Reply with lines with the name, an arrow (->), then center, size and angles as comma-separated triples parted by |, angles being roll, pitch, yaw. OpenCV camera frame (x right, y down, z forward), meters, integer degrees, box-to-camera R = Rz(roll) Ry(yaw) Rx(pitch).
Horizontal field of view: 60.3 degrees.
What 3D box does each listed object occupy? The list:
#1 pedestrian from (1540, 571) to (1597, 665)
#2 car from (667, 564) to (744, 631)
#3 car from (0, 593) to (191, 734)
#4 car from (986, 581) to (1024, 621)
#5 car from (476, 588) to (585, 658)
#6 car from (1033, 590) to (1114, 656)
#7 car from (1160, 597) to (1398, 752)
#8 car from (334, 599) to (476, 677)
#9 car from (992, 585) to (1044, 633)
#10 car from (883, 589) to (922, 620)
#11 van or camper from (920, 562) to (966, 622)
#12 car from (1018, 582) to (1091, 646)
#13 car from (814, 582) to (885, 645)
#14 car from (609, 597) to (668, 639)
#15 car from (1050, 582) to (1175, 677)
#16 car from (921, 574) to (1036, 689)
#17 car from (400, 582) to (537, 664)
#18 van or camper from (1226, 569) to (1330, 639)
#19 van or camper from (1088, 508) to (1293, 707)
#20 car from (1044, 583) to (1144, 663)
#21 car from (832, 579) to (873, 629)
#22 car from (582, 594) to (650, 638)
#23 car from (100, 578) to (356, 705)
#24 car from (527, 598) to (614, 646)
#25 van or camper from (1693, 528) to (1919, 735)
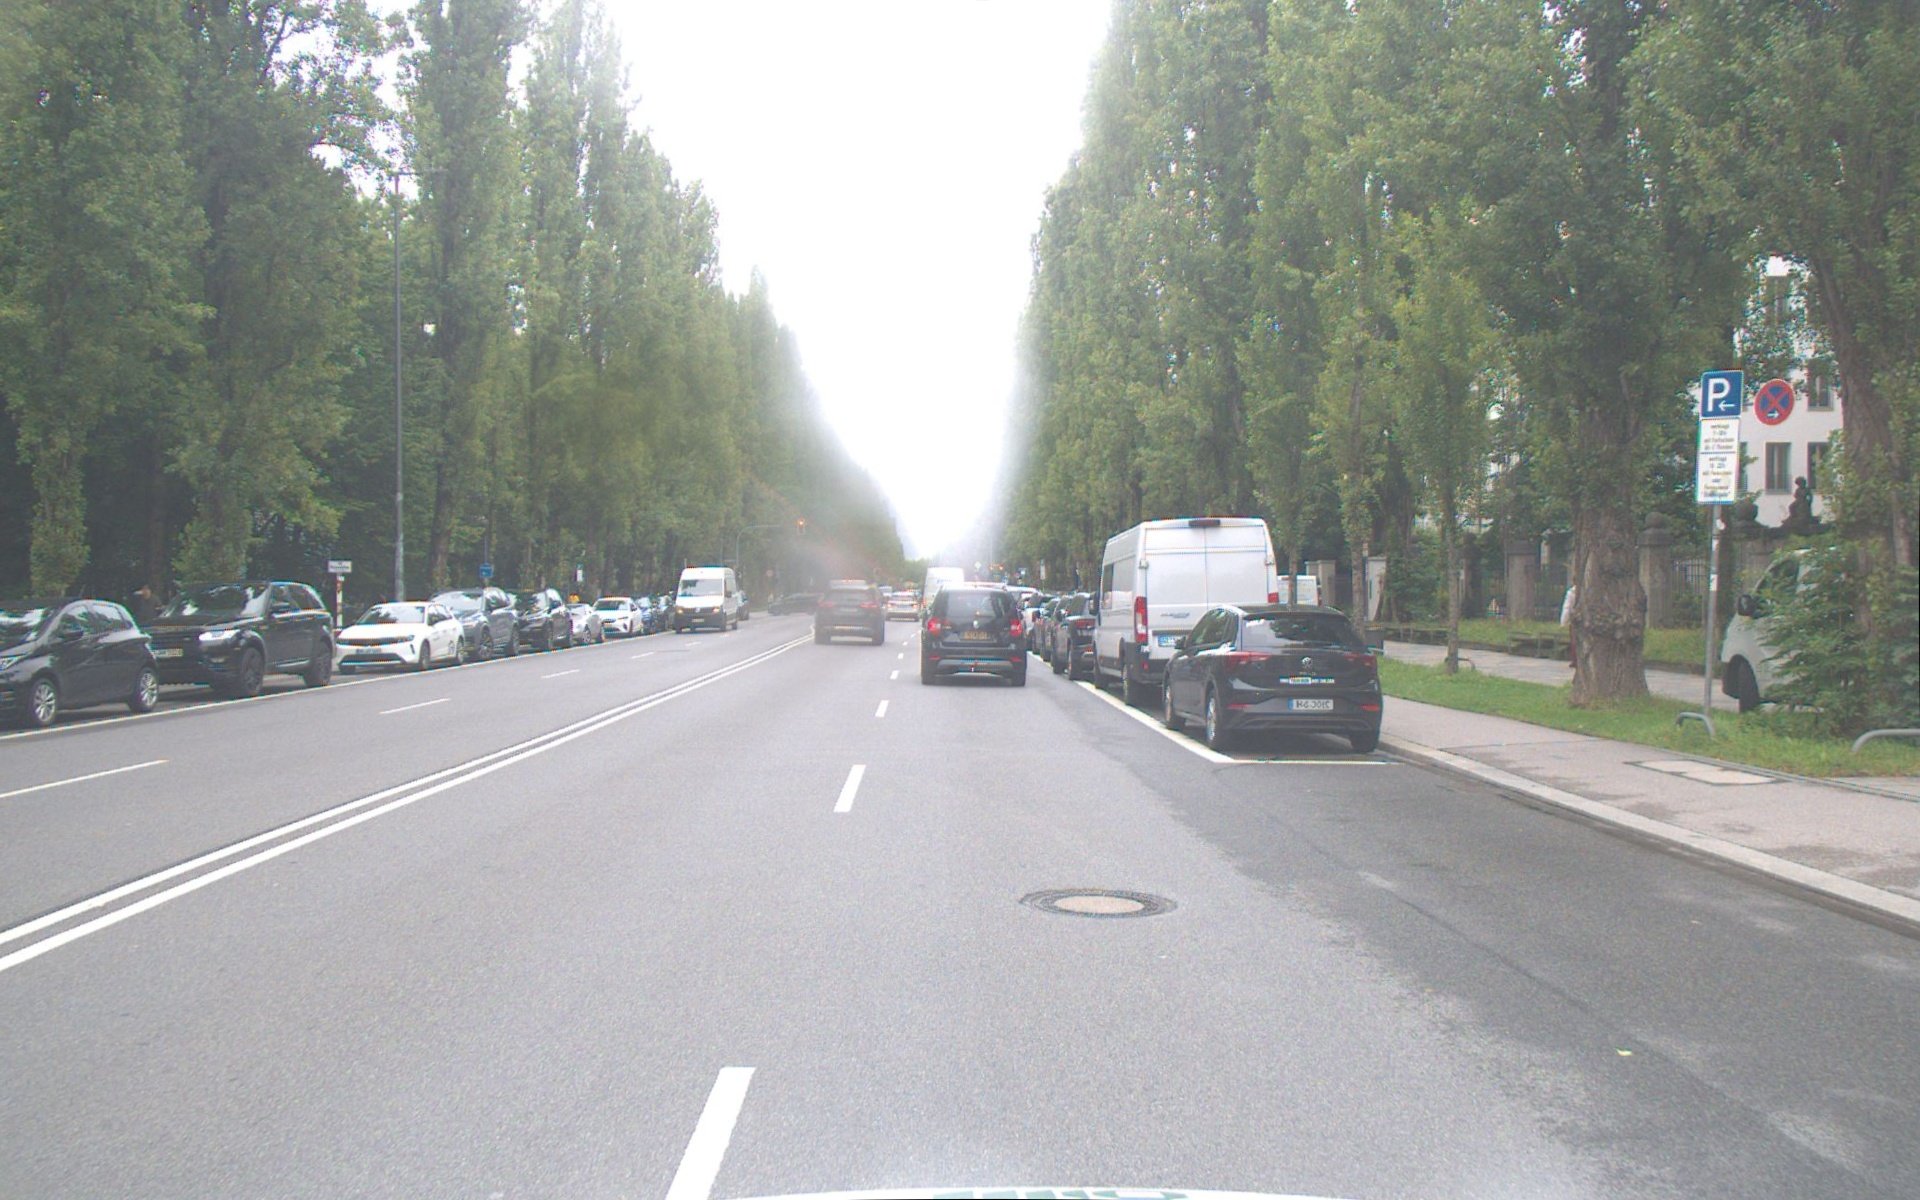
pedestrian -> 11.913, 0.344, 32.393 | 0.779, 1.799, 0.895 | 0, 0, -1
car -> -10.266, -0.120, 67.186 | 2.183, 2.526, 6.756 | -2, 0, -2
car -> -11.891, 0.759, 21.286 | 1.905, 1.611, 4.388 | -2, 0, 0
car -> 2.171, 0.017, 81.209 | 1.700, 1.928, 4.024 | 0, 1, -1
car -> -12.133, 0.605, 47.034 | 1.902, 1.798, 4.894 | -3, 0, -2
car -> 2.799, 0.533, 41.539 | 1.668, 1.546, 4.294 | 0, 1, -1
car -> 3.283, 0.705, 17.768 | 1.642, 1.445, 3.998 | 0, 0, -2
car -> -11.917, 0.768, 35.795 | 1.670, 1.484, 4.272 | -2, 0, -1
car -> 2.396, 0.338, 68.731 | 1.814, 1.914, 4.166 | 0, 1, -3
car -> -3.001, 0.222, 86.358 | 1.953, 1.588, 3.999 | 0, 1, -2
van or camper -> -0.785, -0.370, 73.941 | 1.935, 2.593, 4.023 | 0, 1, -3
car -> 2.600, 0.355, 46.466 | 1.707, 1.705, 4.579 | 0, 1, -1
car -> -3.092, 0.343, 46.921 | 1.745, 1.648, 4.024 | 2, 1, -1
car -> -12.681, 0.691, 65.397 | 1.675, 1.476, 3.584 | -3, 0, -2
car -> 2.813, 0.494, 31.397 | 1.749, 1.677, 4.415 | 0, 1, -3
car -> 0.278, 0.497, 28.779 | 1.818, 1.800, 3.999 | 2, 0, -1
car -> -12.119, 0.510, 41.166 | 1.871, 1.820, 5.179 | -3, 0, -1
van or camper -> 9.462, 0.088, 49.630 | 2.034, 1.967, 5.368 | 1, 1, 0
van or camper -> 3.250, 0.078, 24.763 | 2.095, 2.584, 6.416 | 0, 0, -1
car -> 2.885, 0.446, 36.512 | 1.747, 1.646, 4.637 | 0, 1, -1
car -> -4.782, 0.175, 73.587 | 1.746, 2.148, 4.021 | 1, -1, -4
car -> -12.676, 0.556, 61.152 | 1.735, 1.477, 4.232 | -3, 0, -2
car -> -11.861, 0.608, 27.215 | 2.004, 1.817, 4.799 | -2, 0, 0
car -> -12.334, 0.662, 52.560 | 1.789, 1.357, 4.232 | -3, 0, -1
van or camper -> 10.025, 0.288, 17.793 | 1.935, 1.967, 5.037 | 1, 1, -1
